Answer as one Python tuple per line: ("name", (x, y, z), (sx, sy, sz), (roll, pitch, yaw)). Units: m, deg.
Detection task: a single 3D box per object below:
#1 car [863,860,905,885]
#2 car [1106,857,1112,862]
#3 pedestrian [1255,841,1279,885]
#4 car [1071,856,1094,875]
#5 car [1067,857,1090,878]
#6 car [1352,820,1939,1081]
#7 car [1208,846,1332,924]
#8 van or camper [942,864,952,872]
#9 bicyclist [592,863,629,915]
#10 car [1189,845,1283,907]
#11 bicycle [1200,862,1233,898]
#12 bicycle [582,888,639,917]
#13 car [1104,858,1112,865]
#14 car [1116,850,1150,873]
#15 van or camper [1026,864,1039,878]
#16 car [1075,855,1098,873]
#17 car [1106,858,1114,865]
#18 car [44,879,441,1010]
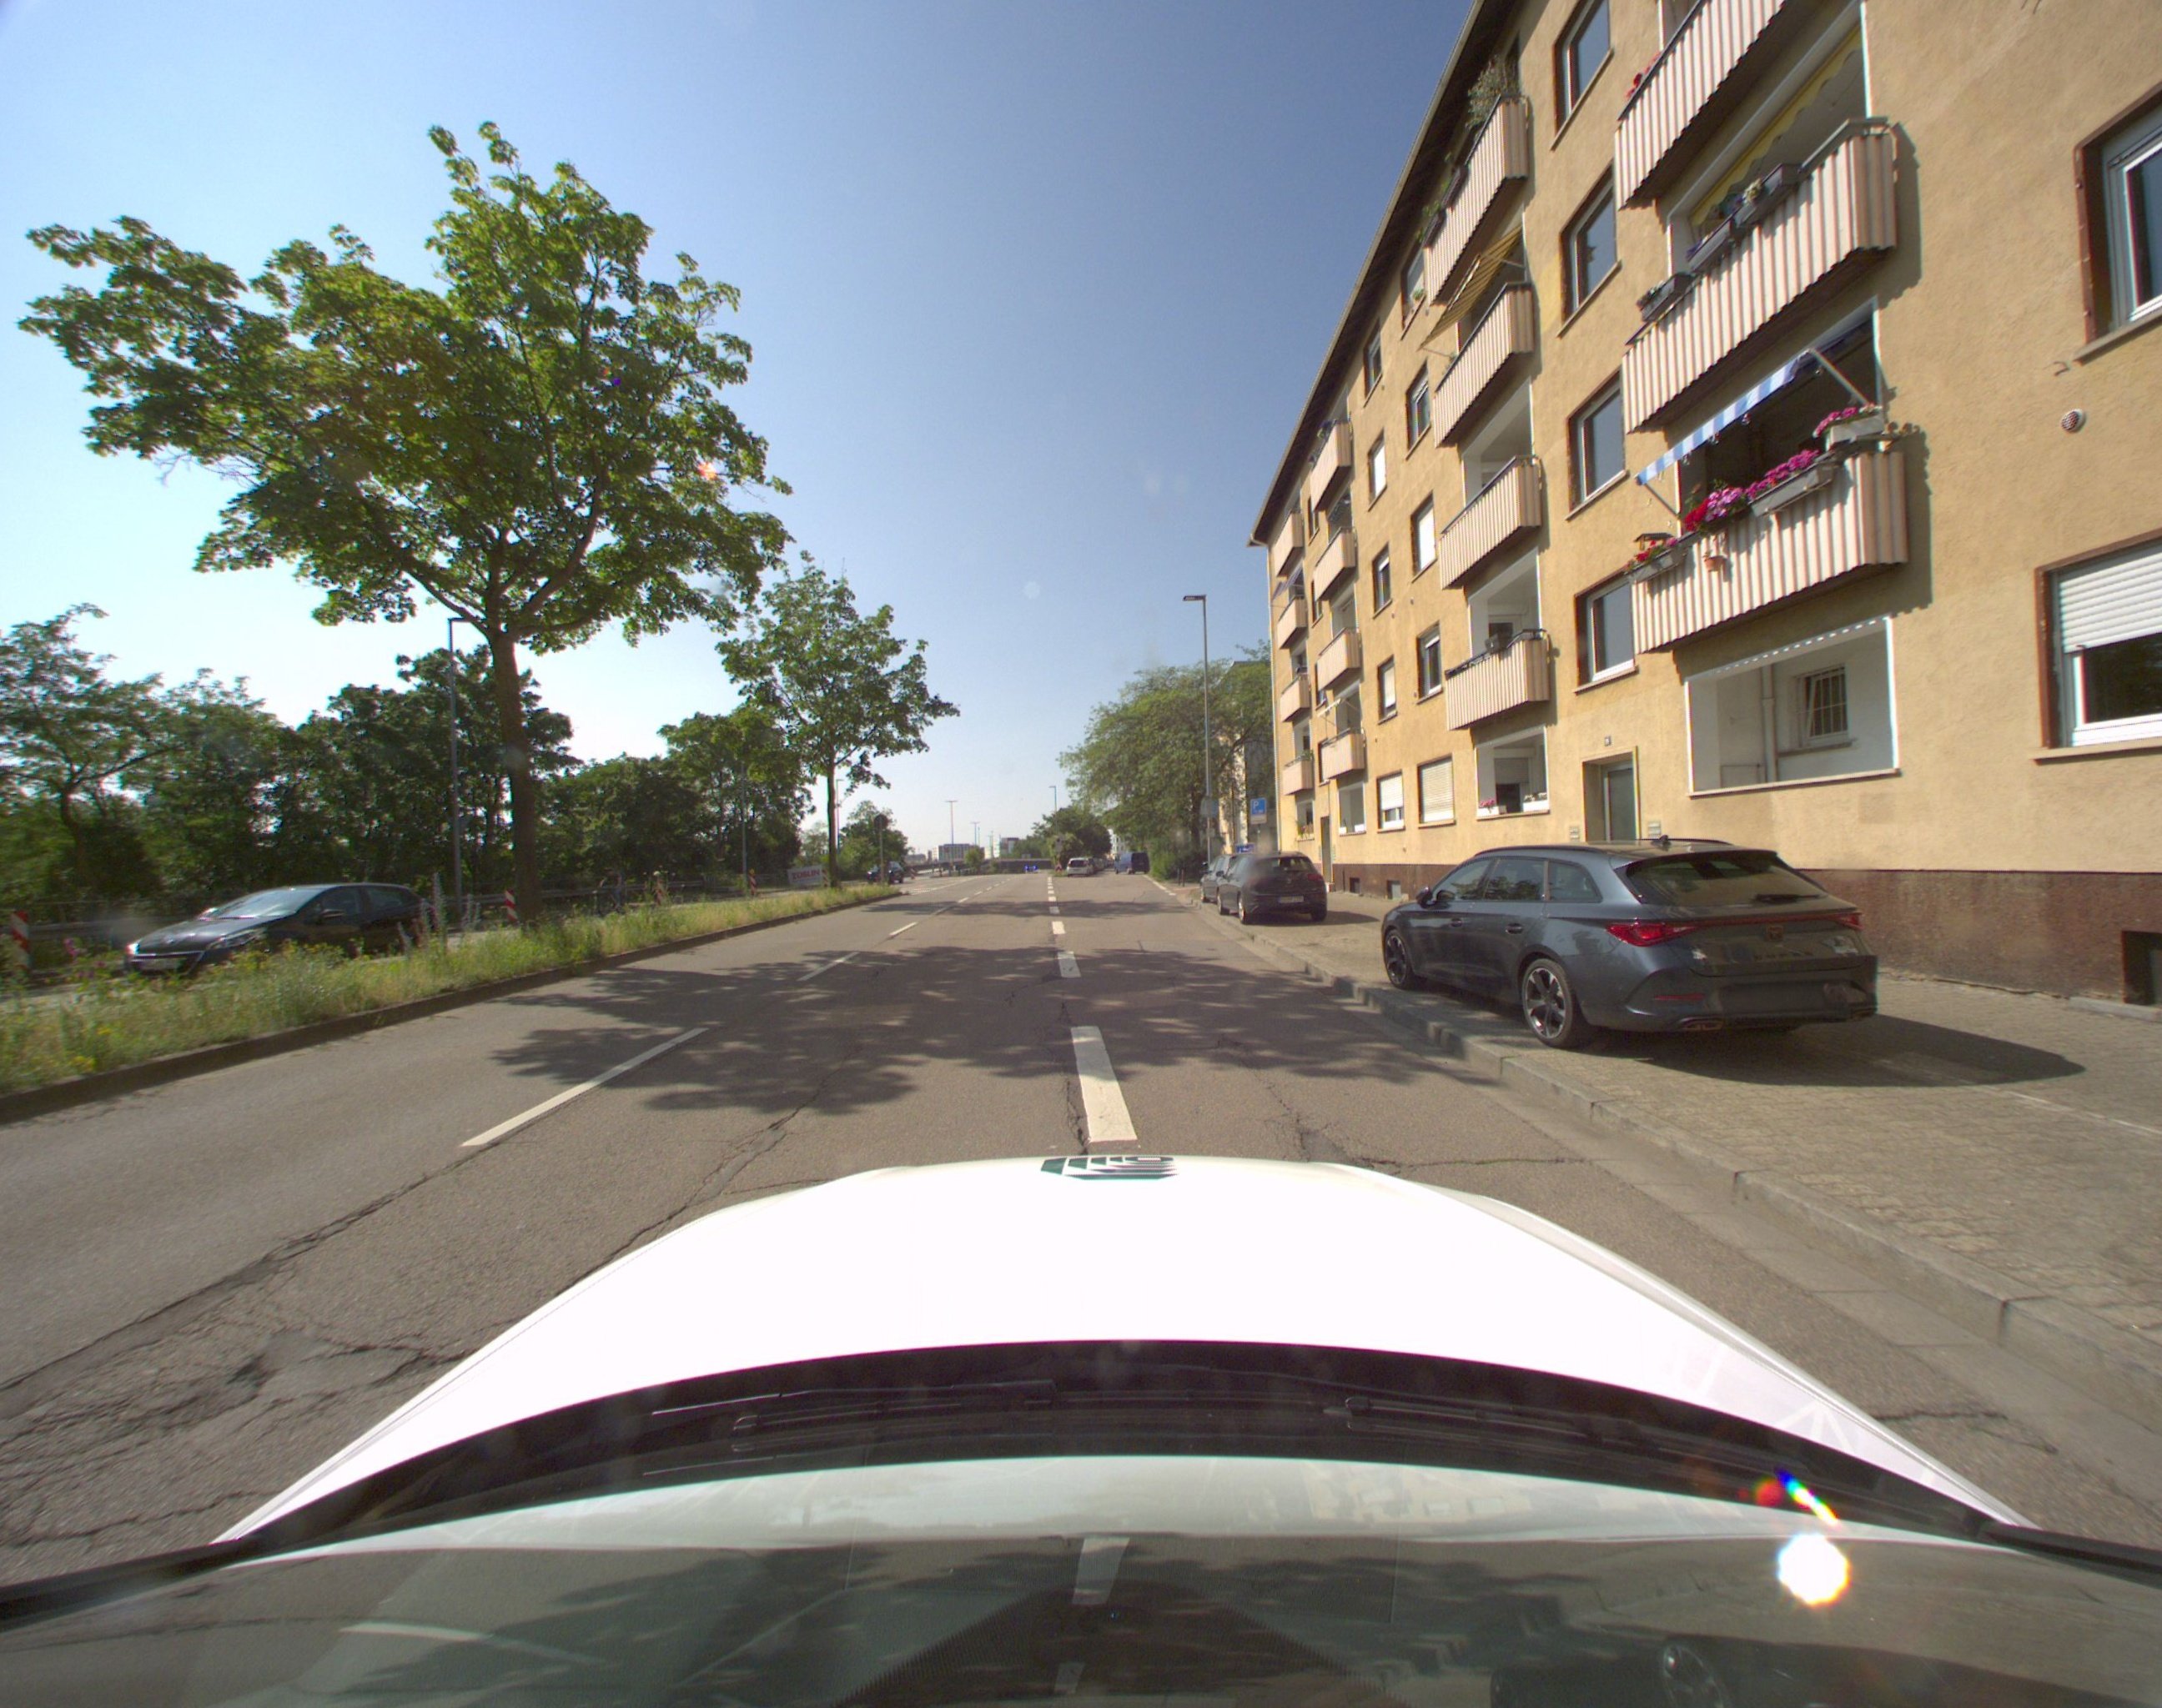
("car", (-14.608, 1.354, 60.515), (1.988, 1.734, 4.727), (-2, 0, -1))
("car", (8.835, 1.700, 255.273), (1.986, 1.657, 4.002), (-2, -1, 2))
("pedestrian", (7.143, 0.334, 31.370), (0.652, 1.609, 0.824), (-4, 0, 3))
("car", (0.144, 0.934, 69.309), (1.714, 1.505, 4.135), (-2, 0, 3))
("car", (-0.169, 1.047, 64.792), (1.613, 1.505, 3.464), (-2, 0, 3))
("car", (4.110, 0.567, 7.100), (1.795, 1.438, 4.587), (-3, 0, -2))
("car", (4.056, 0.611, 18.147), (1.705, 1.462, 4.254), (-3, 0, 0))
("van or camper", (-25.303, 2.570, 153.842), (1.464, 1.350, 4.625), (-2, 0, -3))
("bicyclist", (-17.432, 1.285, 30.202), (0.694, 1.832, 1.017), (-2, 0, 2))
("car", (4.297, 0.566, 23.182), (1.699, 1.514, 4.089), (-4, 0, -2))
("bicycle", (4.594, 0.865, 27.699), (0.701, 1.124, 1.743), (-2, 0, -3))
("bicycle", (-17.423, 1.781, 30.232), (0.690, 0.905, 2.343), (-2, 0, 2))
("car", (6.698, 1.965, 202.622), (1.986, 1.657, 4.002), (-2, -1, 2))
("car", (4.576, 0.636, 72.458), (1.885, 1.921, 3.989), (0, 0, -14))
("van or camper", (-10.740, 3.745, 181.108), (2.288, 2.789, 5.573), (-2, -1, 2))
("car", (0.454, 0.902, 74.697), (1.768, 1.579, 4.181), (-2, 0, -3))
("car", (7.630, 1.874, 212.403), (1.986, 1.657, 4.002), (-2, -1, 2))
("car", (-12.184, 1.197, 12.320), (1.758, 1.474, 4.082), (-2, 0, -1))
